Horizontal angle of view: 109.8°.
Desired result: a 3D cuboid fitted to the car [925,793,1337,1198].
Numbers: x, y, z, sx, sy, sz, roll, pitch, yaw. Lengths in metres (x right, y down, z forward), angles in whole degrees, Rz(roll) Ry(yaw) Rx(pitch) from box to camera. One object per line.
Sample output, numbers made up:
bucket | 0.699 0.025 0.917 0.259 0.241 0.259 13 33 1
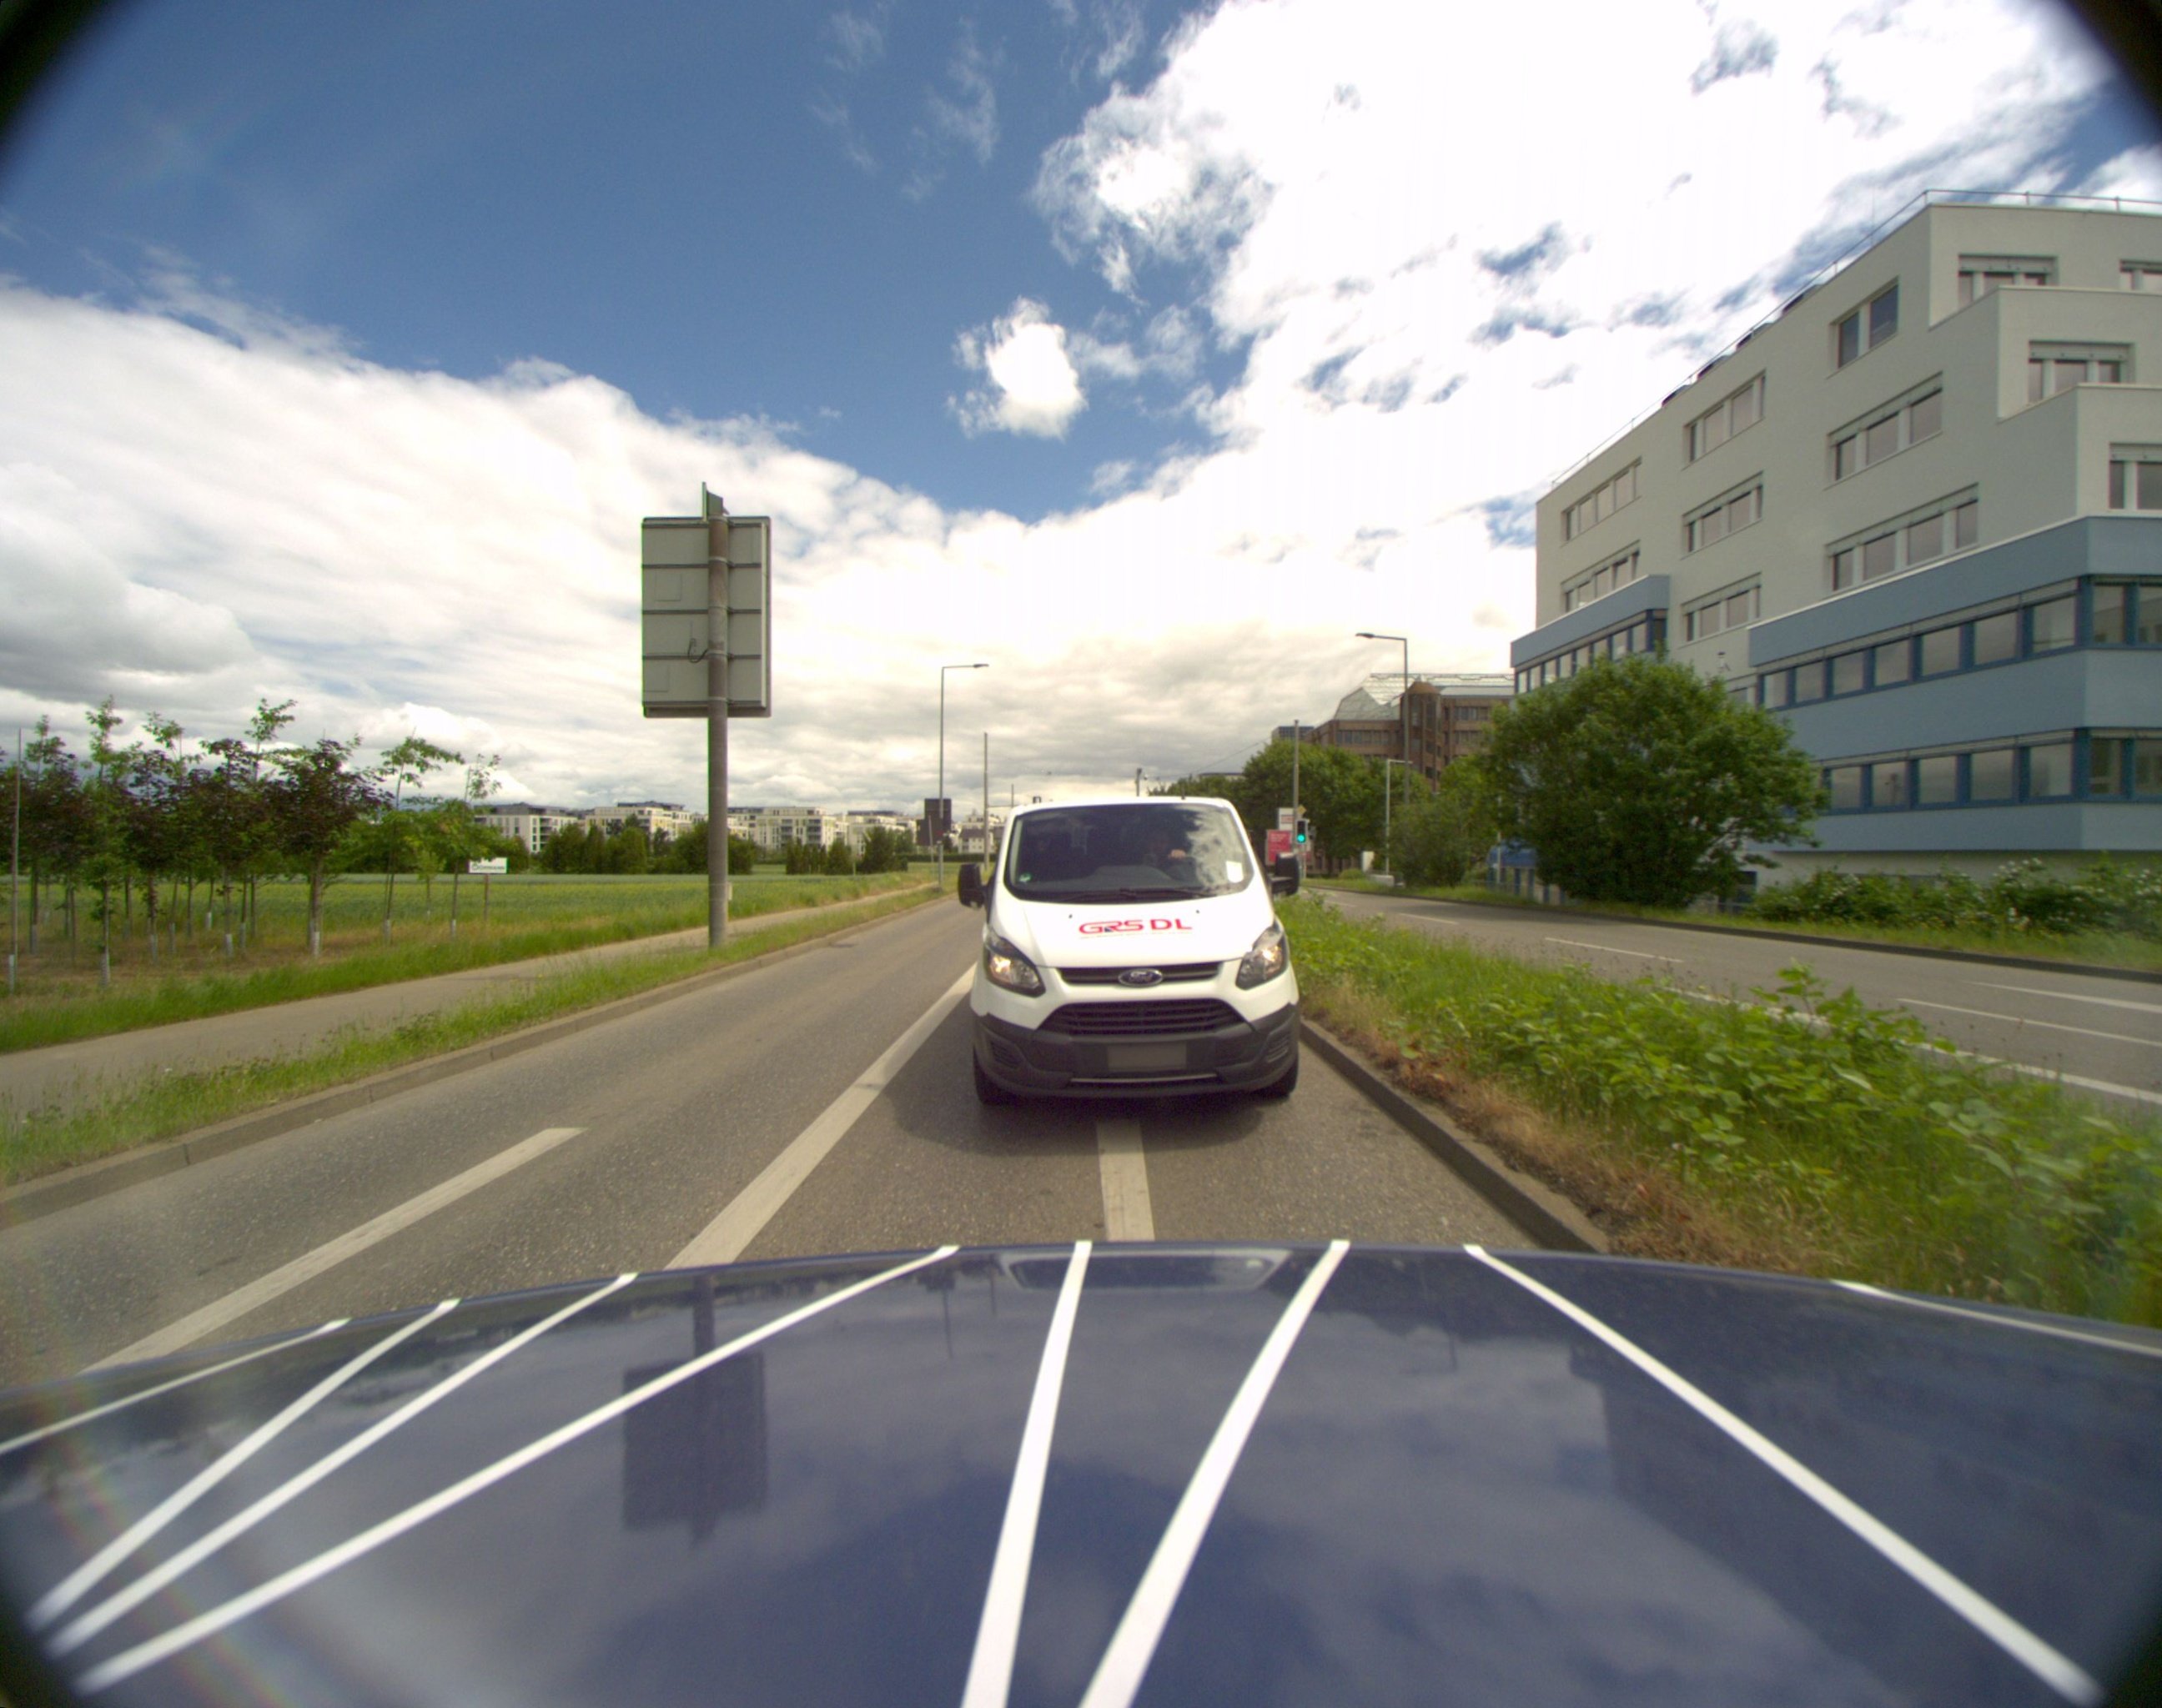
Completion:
car | 0.279 0.696 6.250 1.968 1.938 5.055 -2 0 1

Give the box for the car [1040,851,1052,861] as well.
car | -5.648 0.310 122.460 1.683 1.410 3.739 -1 1 -1

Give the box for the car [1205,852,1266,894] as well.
car | 6.302 0.725 31.383 1.700 1.592 4.043 -1 1 0

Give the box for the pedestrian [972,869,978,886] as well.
pedestrian | -10.537 2.308 75.498 0.492 1.693 0.626 -2 1 -1
